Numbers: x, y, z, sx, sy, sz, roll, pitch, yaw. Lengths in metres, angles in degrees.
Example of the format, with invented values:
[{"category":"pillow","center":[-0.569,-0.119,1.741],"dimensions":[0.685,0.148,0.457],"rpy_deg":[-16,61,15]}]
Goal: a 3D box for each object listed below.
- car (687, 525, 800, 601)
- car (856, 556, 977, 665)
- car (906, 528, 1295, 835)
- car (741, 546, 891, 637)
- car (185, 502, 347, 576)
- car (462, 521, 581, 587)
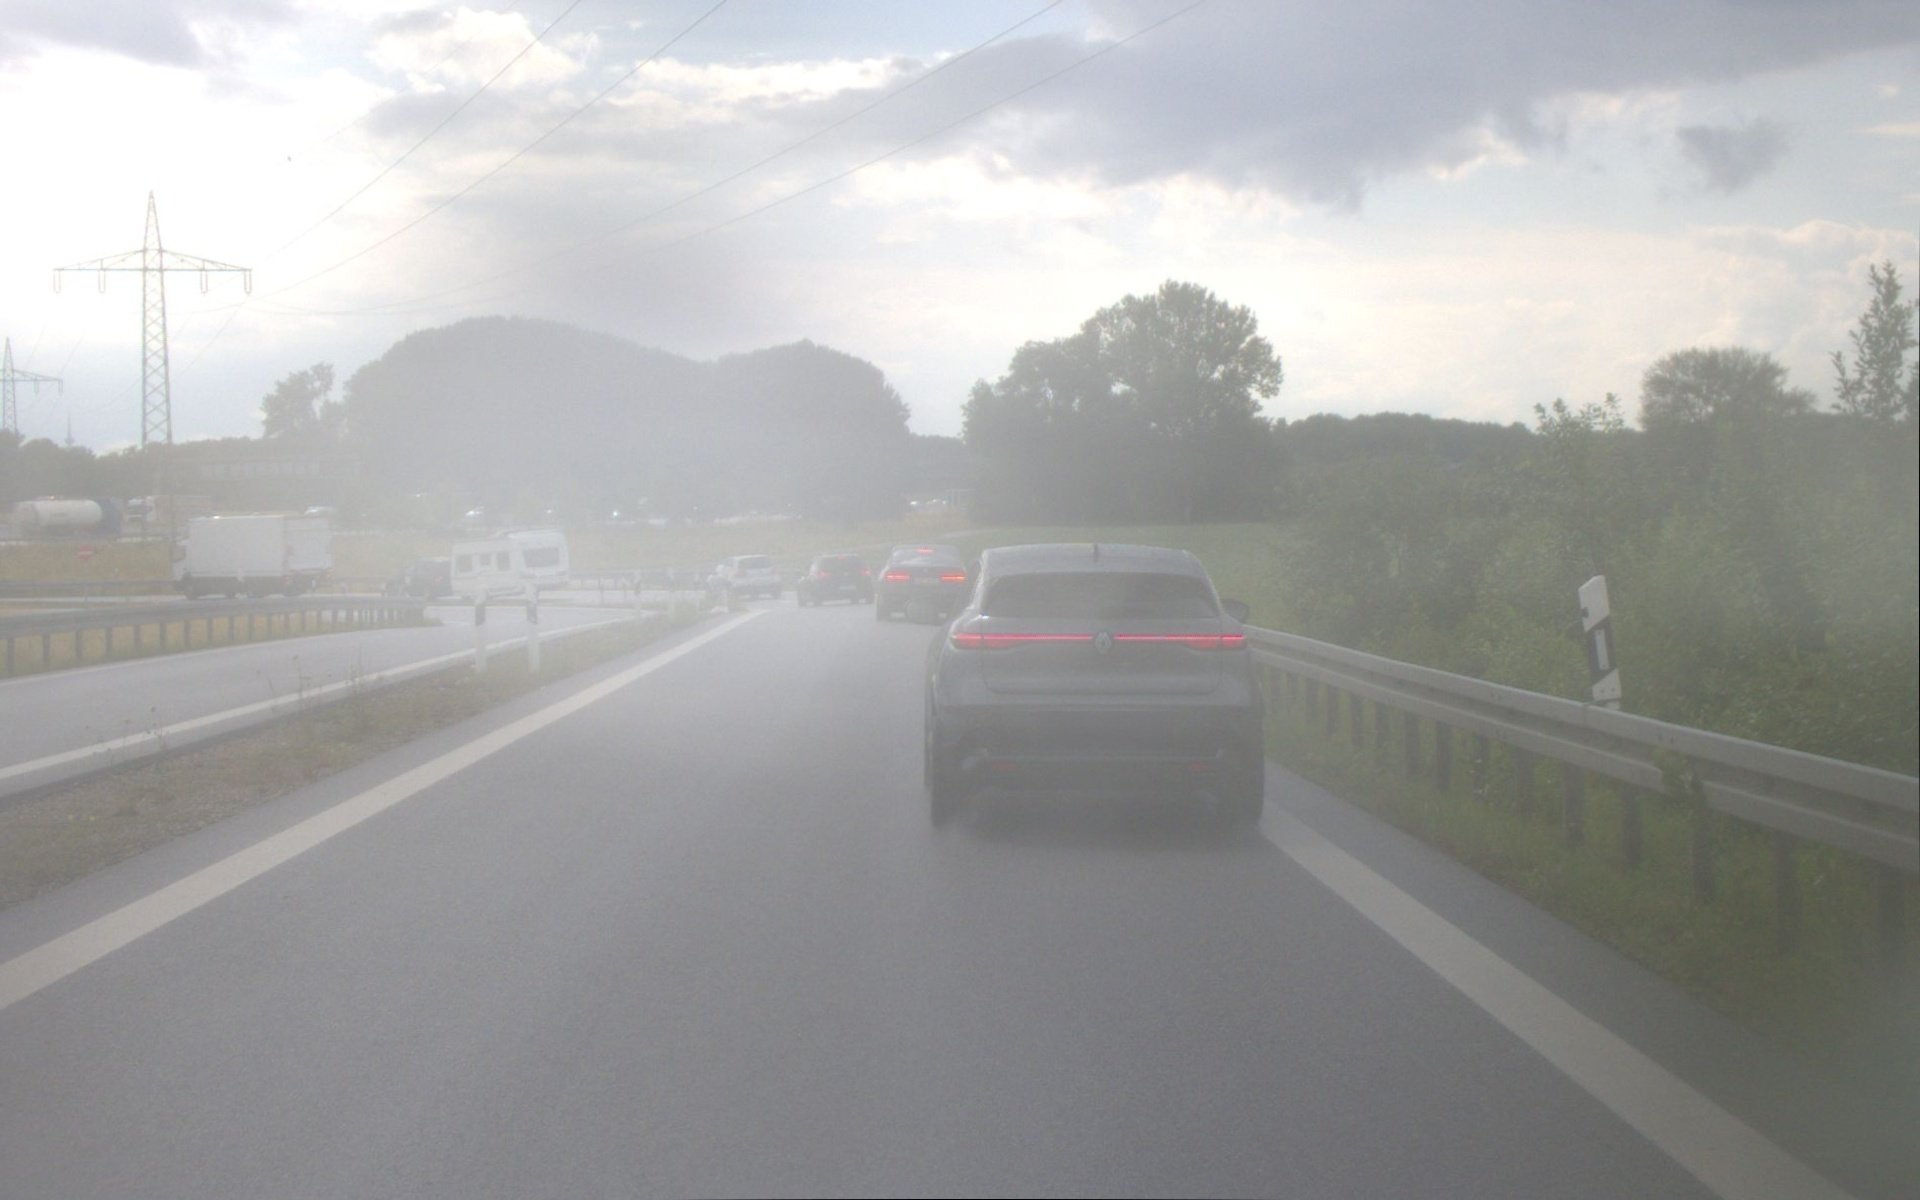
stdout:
[{"category":"car","center":[-7.388,-1.285,116.706],"dimensions":[2.350,2.299,5.130],"rpy_deg":[-2,4,-21]},{"category":"car","center":[-0.924,0.175,69.319],"dimensions":[2.121,2.011,5.535],"rpy_deg":[-1,1,-4]},{"category":"car","center":[0.778,0.379,19.927],"dimensions":[1.993,1.561,4.149],"rpy_deg":[1,1,1]},{"category":"car","center":[-4.176,-0.285,99.081],"dimensions":[2.351,2.299,5.130],"rpy_deg":[-2,4,-27]},{"category":"car","center":[-30.078,-2.665,148.801],"dimensions":[7.203,2.941,3.139],"rpy_deg":[2,4,42]},{"category":"car","center":[-16.875,-1.796,132.088],"dimensions":[2.352,2.299,5.128],"rpy_deg":[-3,4,-35]}]
